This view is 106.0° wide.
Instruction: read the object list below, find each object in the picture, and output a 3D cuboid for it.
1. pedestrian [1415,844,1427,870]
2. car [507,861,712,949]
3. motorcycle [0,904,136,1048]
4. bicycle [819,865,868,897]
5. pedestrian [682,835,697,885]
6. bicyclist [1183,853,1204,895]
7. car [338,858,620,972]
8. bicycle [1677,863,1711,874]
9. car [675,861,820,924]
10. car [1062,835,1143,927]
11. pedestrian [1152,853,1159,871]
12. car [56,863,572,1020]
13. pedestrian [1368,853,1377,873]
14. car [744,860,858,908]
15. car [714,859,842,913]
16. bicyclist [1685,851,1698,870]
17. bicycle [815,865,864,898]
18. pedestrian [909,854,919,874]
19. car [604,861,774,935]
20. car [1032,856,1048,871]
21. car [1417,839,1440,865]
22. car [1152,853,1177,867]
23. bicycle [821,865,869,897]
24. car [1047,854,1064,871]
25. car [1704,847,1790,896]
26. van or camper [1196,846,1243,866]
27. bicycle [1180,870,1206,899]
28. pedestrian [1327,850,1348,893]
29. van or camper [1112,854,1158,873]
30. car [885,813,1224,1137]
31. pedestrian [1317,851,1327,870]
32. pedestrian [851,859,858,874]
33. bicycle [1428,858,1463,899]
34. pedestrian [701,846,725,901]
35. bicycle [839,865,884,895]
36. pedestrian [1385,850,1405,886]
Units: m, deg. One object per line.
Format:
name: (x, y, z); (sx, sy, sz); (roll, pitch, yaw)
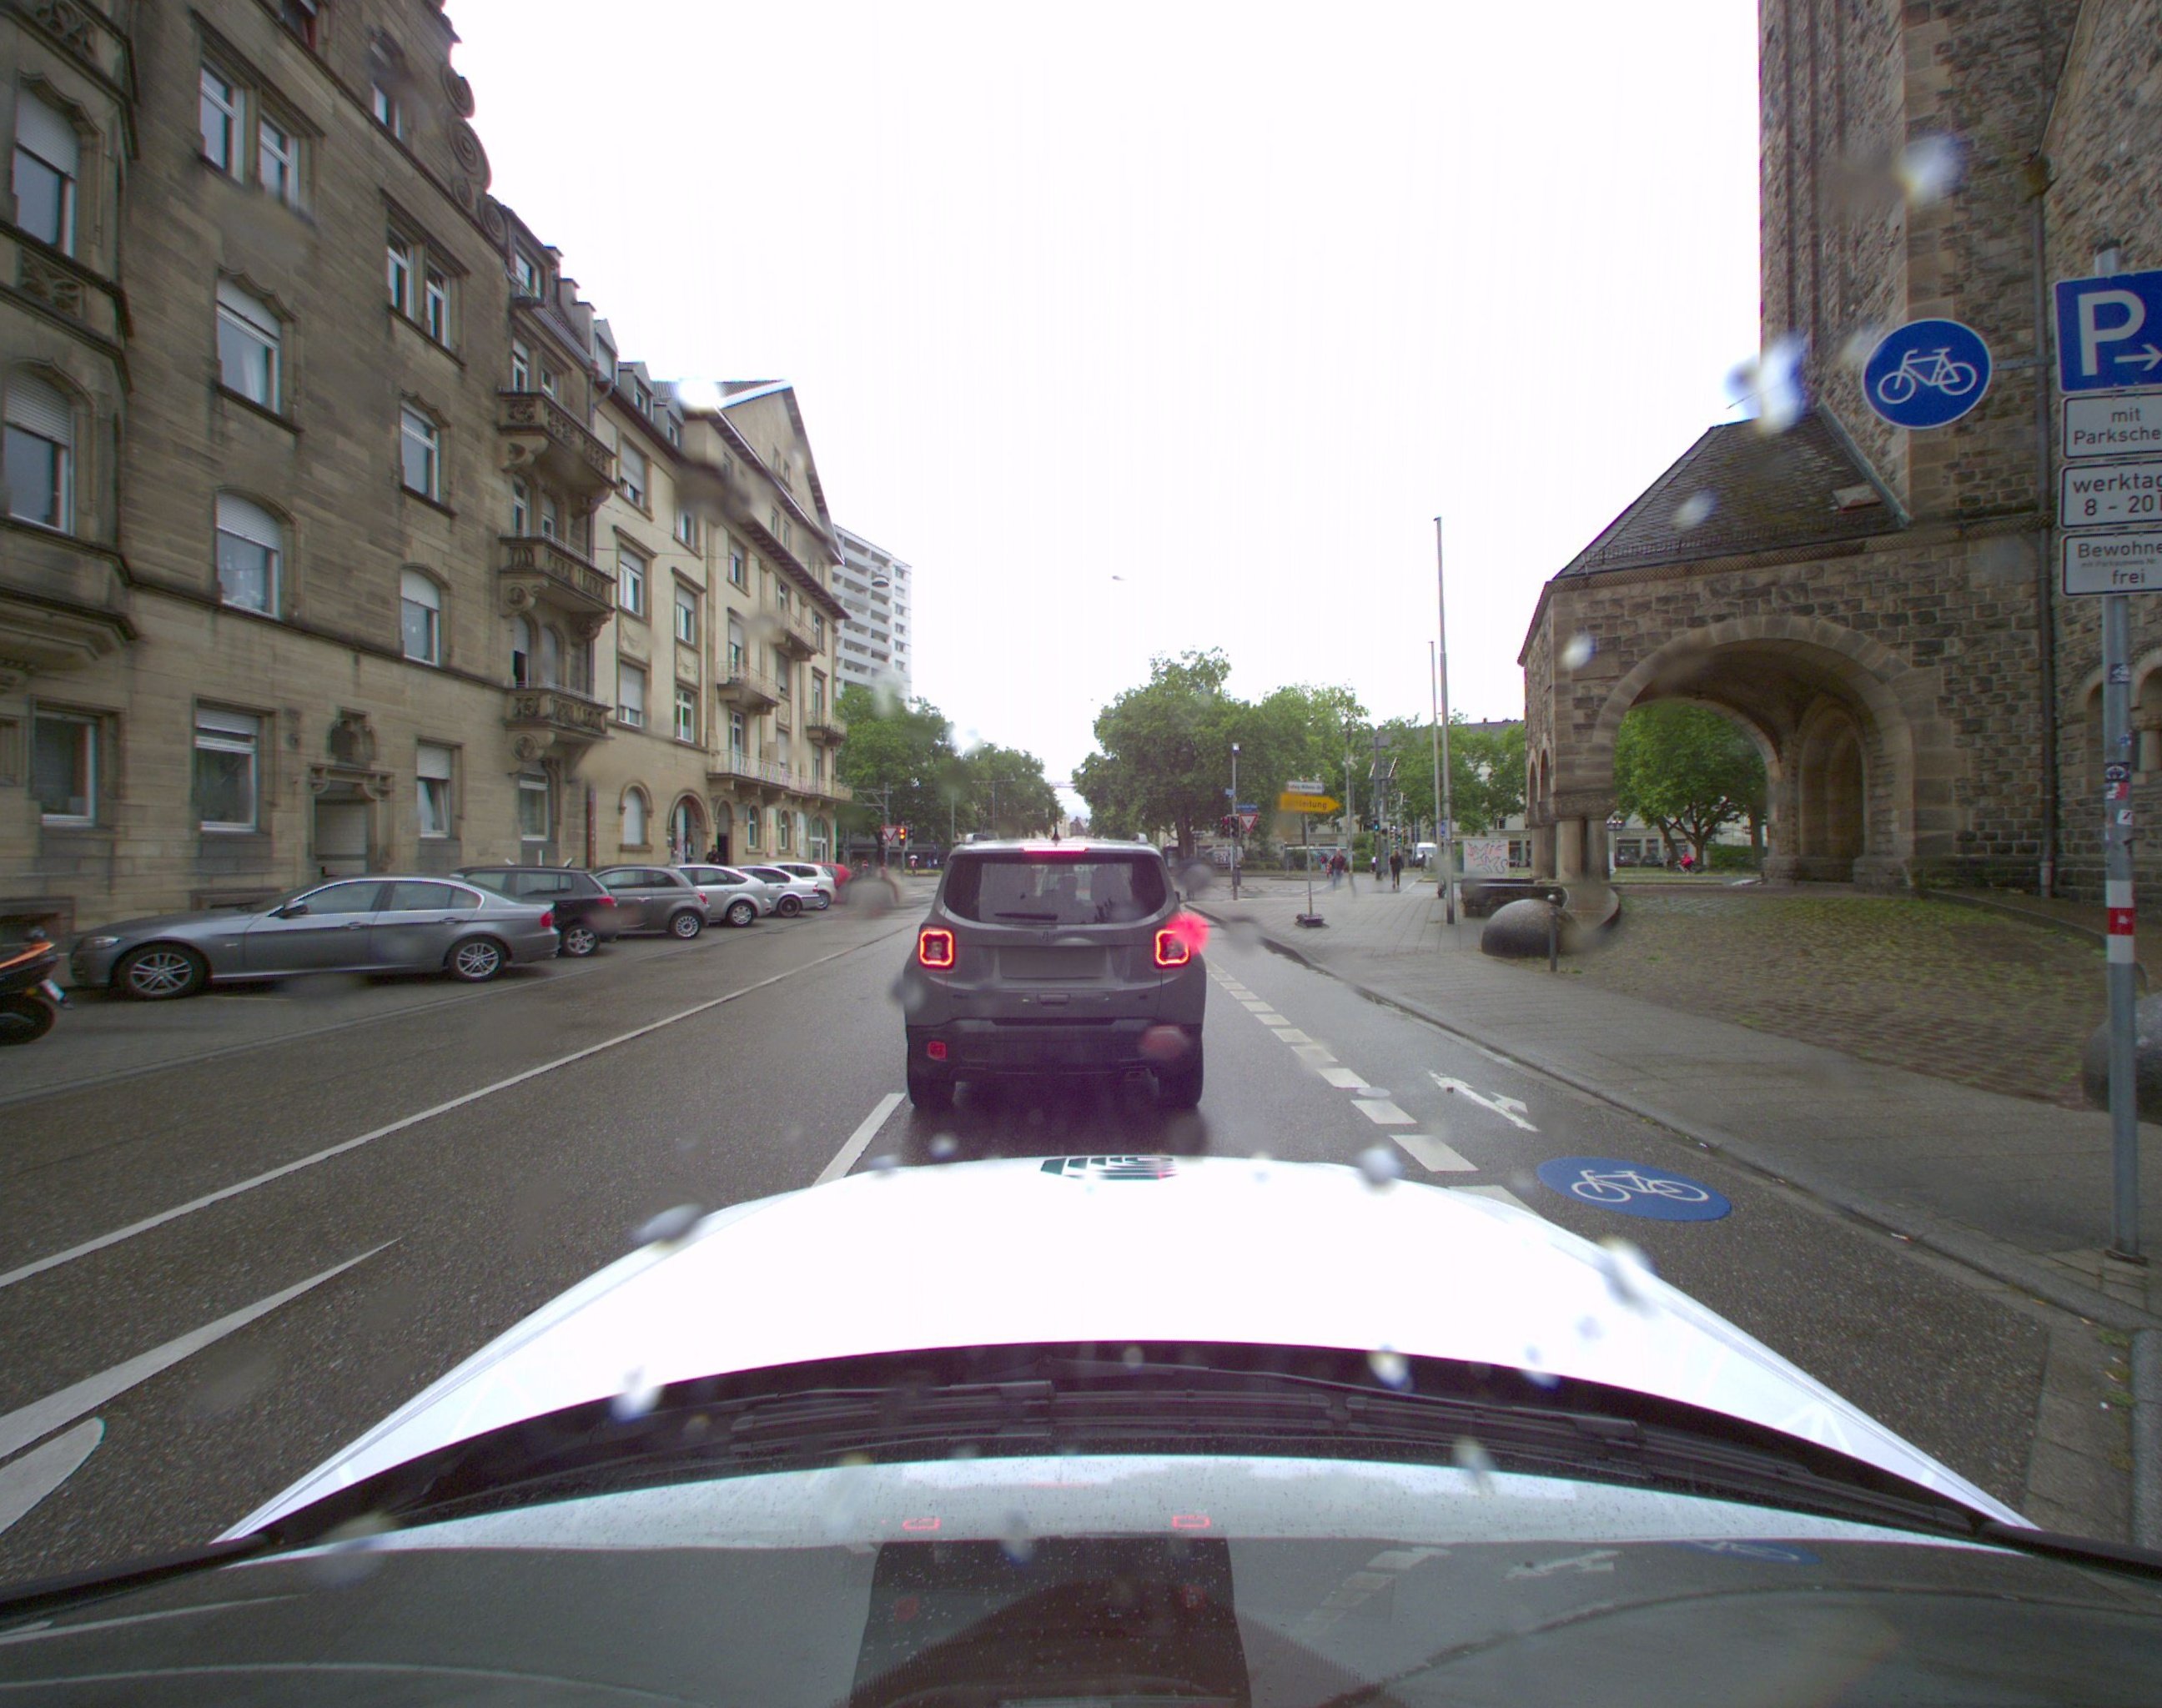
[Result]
pedestrian: (27.060, 0.238, 64.826); (0.798, 2.014, 0.593); (-1, -1, 28)
car: (-9.535, 0.956, 16.557); (3.419, 1.558, 1.634); (-1, 0, -38)
motorcycle: (-9.405, 1.018, 6.768); (1.880, 1.162, 0.627); (2, -2, -36)
bicycle: (-9.594, 1.091, 32.885); (1.804, 1.266, 0.498); (-1, -1, -1)
pedestrian: (-14.420, 0.237, 30.017); (0.365, 1.823, 0.347); (-2, -1, -1)
bicyclist: (4.468, 0.793, 32.401); (0.682, 1.617, 0.887); (-2, 0, 14)
car: (-9.778, 0.899, 13.473); (3.571, 1.598, 1.587); (-1, 0, -38)
bicycle: (40.238, 0.945, 53.500); (1.683, 0.719, 0.656); (-1, 0, 22)
car: (-9.282, 1.016, 22.767); (3.419, 1.558, 1.686); (-1, 0, -38)
car: (0.528, 0.606, 20.001); (1.764, 2.013, 4.001); (-1, 0, 1)
pedestrian: (8.445, 0.914, 92.476); (0.646, 2.014, 0.484); (-1, -1, 14)
car: (-9.408, 0.928, 10.543); (4.573, 1.545, 1.668); (-1, 0, -42)
pedestrian: (23.648, 0.714, 66.070); (0.607, 1.603, 0.497); (-1, -1, 26)
car: (-9.765, 0.998, 28.507); (3.419, 1.558, 1.686); (-1, 0, -38)
car: (-9.507, 0.959, 25.632); (3.419, 1.558, 1.686); (-1, 0, -38)
bicyclist: (40.136, 0.447, 53.567); (0.518, 1.250, 0.656); (-1, -1, 23)
bicycle: (-9.591, 1.097, 32.337); (1.758, 1.266, 0.522); (-1, -1, -1)
pedestrian: (-15.571, 0.922, 76.116); (0.614, 1.826, 0.697); (-2, -1, 15)
car: (-9.387, 0.982, 19.584); (3.419, 1.558, 1.686); (-1, 0, -38)
car: (-4.796, 1.081, 95.499); (1.810, 1.670, 3.916); (-1, 0, -3)
car: (35.509, -0.159, 83.205); (1.889, 2.555, 4.815); (-1, 0, 25)
car: (12.192, 0.883, 119.085); (3.411, 2.014, 1.554); (-2, -1, 15)
bicycle: (-9.705, 1.104, 33.571); (1.804, 1.266, 0.498); (-1, -1, -1)
car: (-2.619, 0.902, 84.666); (1.717, 1.739, 3.726); (-1, 0, -2)
car: (21.466, 0.535, 26.361); (1.389, 1.479, 3.239); (-1, 0, 25)
van or camper: (16.009, 0.218, 94.612); (5.234, 2.315, 2.093); (0, 0, 5)
bicycle: (4.472, 1.198, 32.381); (0.687, 1.021, 2.668); (-2, 0, 14)
pedestrian: (10.577, 0.709, 33.598); (0.780, 1.759, 0.949); (-2, -1, 16)
van or camper: (8.209, 1.466, 124.762); (6.466, 2.912, 2.509); (-1, 0, 26)
car: (-0.117, 0.651, 6.293); (1.769, 1.687, 3.848); (-2, 0, 1)
pedestrian: (20.062, 0.579, 67.834); (0.667, 1.554, 0.766); (-1, -2, 29)
pedestrian: (-23.706, 1.312, 85.225); (0.438, 1.530, 0.646); (-1, -1, 18)
bicycle: (11.007, 0.714, 24.654); (0.327, 1.154, 2.079); (-1, 0, 7)
pedestrian: (-13.473, 0.707, 29.845); (0.565, 2.014, 0.655); (-1, -1, 1)
bicycle: (-9.566, 1.138, 35.476); (1.758, 1.266, 0.608); (-1, -1, -1)
pedestrian: (14.538, 0.643, 37.690); (0.775, 1.645, 0.659); (-2, -1, 25)
